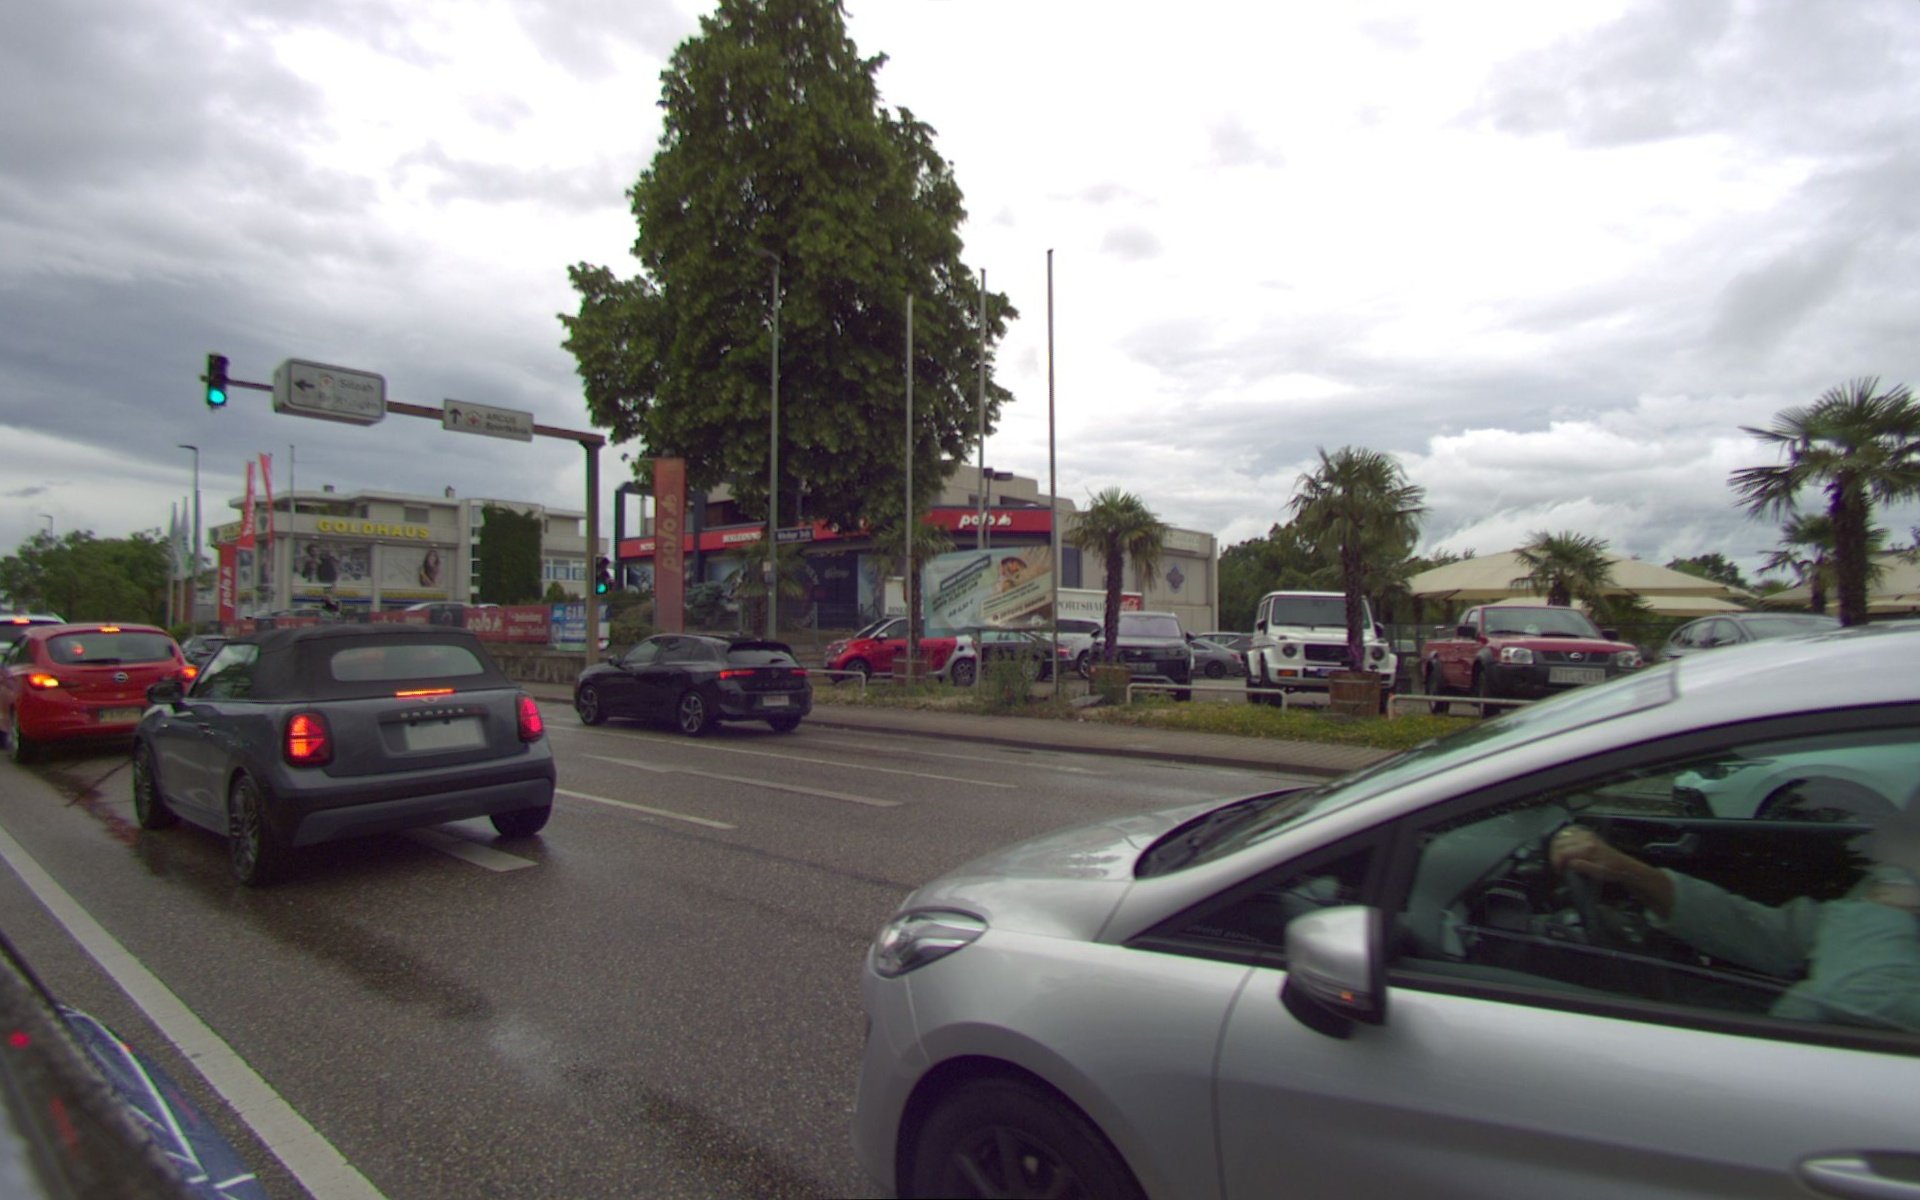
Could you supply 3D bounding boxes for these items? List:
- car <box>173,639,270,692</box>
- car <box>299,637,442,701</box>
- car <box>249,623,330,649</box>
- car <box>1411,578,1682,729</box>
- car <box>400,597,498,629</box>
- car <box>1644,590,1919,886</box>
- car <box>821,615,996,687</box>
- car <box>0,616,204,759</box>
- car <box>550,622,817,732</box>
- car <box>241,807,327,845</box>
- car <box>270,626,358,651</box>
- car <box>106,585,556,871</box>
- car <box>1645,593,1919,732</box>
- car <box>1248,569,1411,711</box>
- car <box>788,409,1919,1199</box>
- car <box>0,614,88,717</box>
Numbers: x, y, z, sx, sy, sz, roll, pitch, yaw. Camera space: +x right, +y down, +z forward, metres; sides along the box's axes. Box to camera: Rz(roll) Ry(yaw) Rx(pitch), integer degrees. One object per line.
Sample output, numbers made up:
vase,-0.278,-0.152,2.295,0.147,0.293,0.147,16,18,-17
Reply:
car,-23.864,2.117,32.658,3.998,1.630,1.658,-4,-5,41
car,-13.384,1.552,22.901,3.944,1.342,1.605,-3,-5,41
car,-35.549,1.921,53.703,1.454,1.347,3.349,-4,-4,42
car,8.055,0.772,14.512,1.981,1.715,4.990,2,-3,14
car,-21.197,0.571,42.066,1.452,1.176,3.352,-4,-4,39
car,6.009,0.692,5.035,1.618,1.489,4.048,2,-3,-43
car,-1.173,1.151,22.695,3.556,1.515,1.671,1,-2,-20
car,-10.666,0.929,12.214,4.142,1.445,1.615,-1,-2,41
car,-4.202,1.119,15.011,4.401,1.410,1.585,-3,-5,40
car,-34.164,11.394,51.219,1.452,1.287,3.352,-4,-4,39
car,-31.851,1.914,49.958,1.452,1.176,3.352,-4,-4,39
car,-4.548,0.731,7.060,3.946,1.452,1.585,-3,-2,41
car,10.802,0.829,13.088,1.983,1.475,4.343,2,-3,17
car,5.962,0.729,16.856,1.980,2.029,4.381,-1,-4,13
car,1.625,0.525,1.559,3.946,1.452,1.585,-2,-2,41
car,-17.129,1.160,18.009,4.294,1.662,1.820,-3,-3,41
